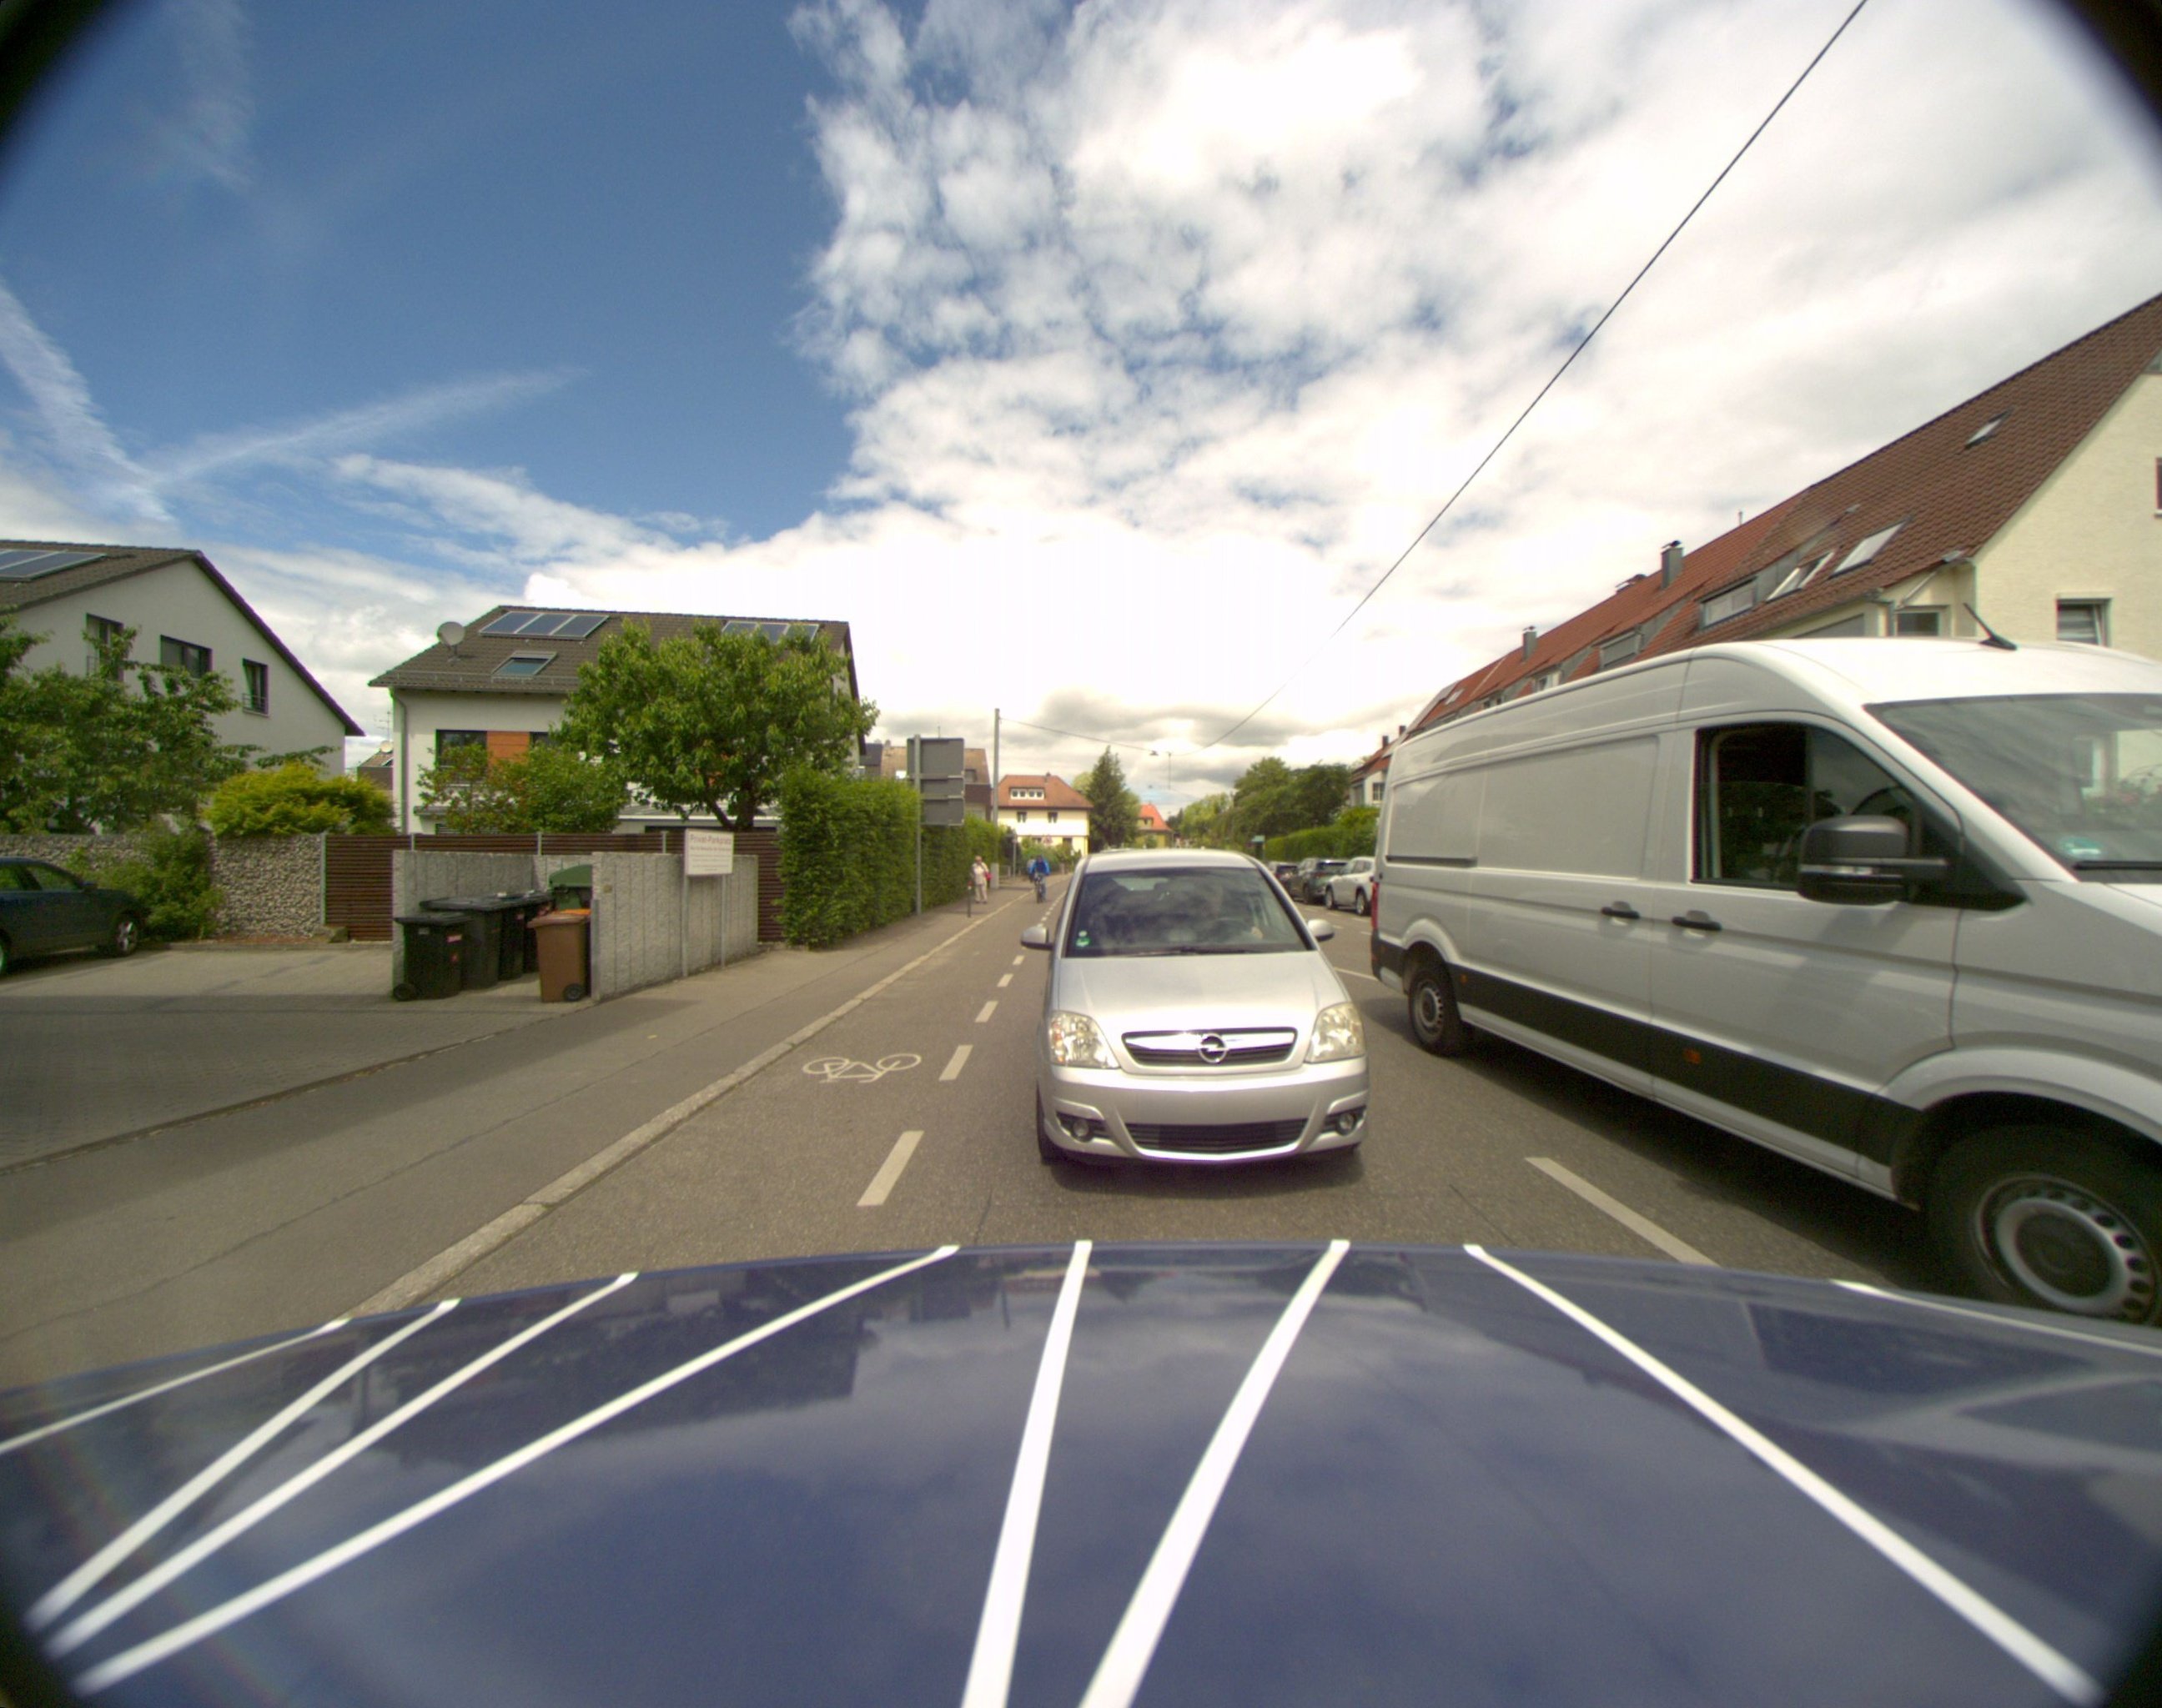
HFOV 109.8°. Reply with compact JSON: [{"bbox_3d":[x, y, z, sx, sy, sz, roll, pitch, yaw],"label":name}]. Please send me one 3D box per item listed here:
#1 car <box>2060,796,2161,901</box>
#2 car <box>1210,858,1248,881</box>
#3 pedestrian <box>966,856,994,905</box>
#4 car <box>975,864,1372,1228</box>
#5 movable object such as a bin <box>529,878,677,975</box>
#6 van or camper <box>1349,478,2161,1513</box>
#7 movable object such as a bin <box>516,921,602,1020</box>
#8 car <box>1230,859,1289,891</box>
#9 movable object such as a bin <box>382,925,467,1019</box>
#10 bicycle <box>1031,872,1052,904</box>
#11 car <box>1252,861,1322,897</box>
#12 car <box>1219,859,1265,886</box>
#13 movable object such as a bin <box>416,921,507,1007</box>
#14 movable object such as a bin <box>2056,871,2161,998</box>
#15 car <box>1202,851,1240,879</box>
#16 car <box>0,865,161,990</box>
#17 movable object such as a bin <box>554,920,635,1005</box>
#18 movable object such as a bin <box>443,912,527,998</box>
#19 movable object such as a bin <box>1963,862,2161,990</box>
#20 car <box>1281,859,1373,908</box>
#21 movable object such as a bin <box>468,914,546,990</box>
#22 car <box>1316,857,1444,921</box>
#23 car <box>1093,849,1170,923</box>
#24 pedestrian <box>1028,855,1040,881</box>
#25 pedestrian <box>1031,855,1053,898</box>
[{"bbox_3d":[19.458,-0.139,12.650,3.997,1.696,1.803,-1,0,0],"label":"car"},{"bbox_3d":[9.468,0.976,48.839,1.782,1.409,4.340,0,0,3],"label":"car"},{"bbox_3d":[-3.365,0.875,25.412,0.800,1.608,0.653,1,1,2],"label":"pedestrian"},{"bbox_3d":[0.562,0.889,5.526,1.707,1.531,4.332,-2,0,4],"label":"car"},{"bbox_3d":[-6.919,1.010,11.124,1.192,1.255,1.535,-1,0,-2],"label":"movable object such as a bin"},{"bbox_3d":[3.602,0.384,4.000,2.030,2.564,5.922,-2,-1,-2],"label":"van or camper"},{"bbox_3d":[-5.604,1.228,8.194,0.534,0.945,0.686,-1,0,-13],"label":"movable object such as a bin"},{"bbox_3d":[8.897,0.999,38.197,1.782,1.483,4.565,0,0,-1],"label":"car"},{"bbox_3d":[-7.072,1.251,8.203,0.494,0.907,0.539,-1,1,-16],"label":"movable object such as a bin"},{"bbox_3d":[-1.398,1.186,27.355,0.536,1.039,2.409,-1,0,2],"label":"bicycle"},{"bbox_3d":[8.771,1.015,32.782,1.998,1.400,4.690,0,0,3],"label":"car"},{"bbox_3d":[9.160,1.026,43.543,1.782,1.409,4.440,0,0,2],"label":"car"},{"bbox_3d":[-7.129,1.250,8.769,0.635,0.887,0.539,-1,1,-16],"label":"movable object such as a bin"},{"bbox_3d":[11.830,0.847,8.193,1.067,1.305,1.214,0,0,2],"label":"movable object such as a bin"},{"bbox_3d":[9.907,0.743,54.141,1.998,1.884,5.405,2,0,4],"label":"car"},{"bbox_3d":[-14.681,0.937,9.999,1.790,1.527,3.789,0,0,-25],"label":"car"},{"bbox_3d":[-5.709,1.256,8.954,0.533,0.887,0.679,-1,0,-5],"label":"movable object such as a bin"},{"bbox_3d":[-7.280,1.215,9.301,0.629,0.962,0.539,-1,1,-16],"label":"movable object such as a bin"},{"bbox_3d":[12.201,0.838,9.435,1.068,1.473,1.214,0,0,-1],"label":"movable object such as a bin"},{"bbox_3d":[8.677,0.986,27.256,1.998,1.555,4.690,0,0,3],"label":"car"},{"bbox_3d":[-7.416,1.252,9.835,0.635,0.887,0.539,-1,1,-16],"label":"movable object such as a bin"},{"bbox_3d":[8.496,0.921,22.055,1.998,1.641,4.517,0,0,1],"label":"car"},{"bbox_3d":[1.250,0.764,20.339,1.780,1.760,4.189,0,0,0],"label":"car"},{"bbox_3d":[-2.886,0.871,46.986,0.604,1.596,0.836,2,1,2],"label":"pedestrian"},{"bbox_3d":[-1.397,0.785,27.323,0.736,1.508,0.872,-1,1,1],"label":"pedestrian"}]
